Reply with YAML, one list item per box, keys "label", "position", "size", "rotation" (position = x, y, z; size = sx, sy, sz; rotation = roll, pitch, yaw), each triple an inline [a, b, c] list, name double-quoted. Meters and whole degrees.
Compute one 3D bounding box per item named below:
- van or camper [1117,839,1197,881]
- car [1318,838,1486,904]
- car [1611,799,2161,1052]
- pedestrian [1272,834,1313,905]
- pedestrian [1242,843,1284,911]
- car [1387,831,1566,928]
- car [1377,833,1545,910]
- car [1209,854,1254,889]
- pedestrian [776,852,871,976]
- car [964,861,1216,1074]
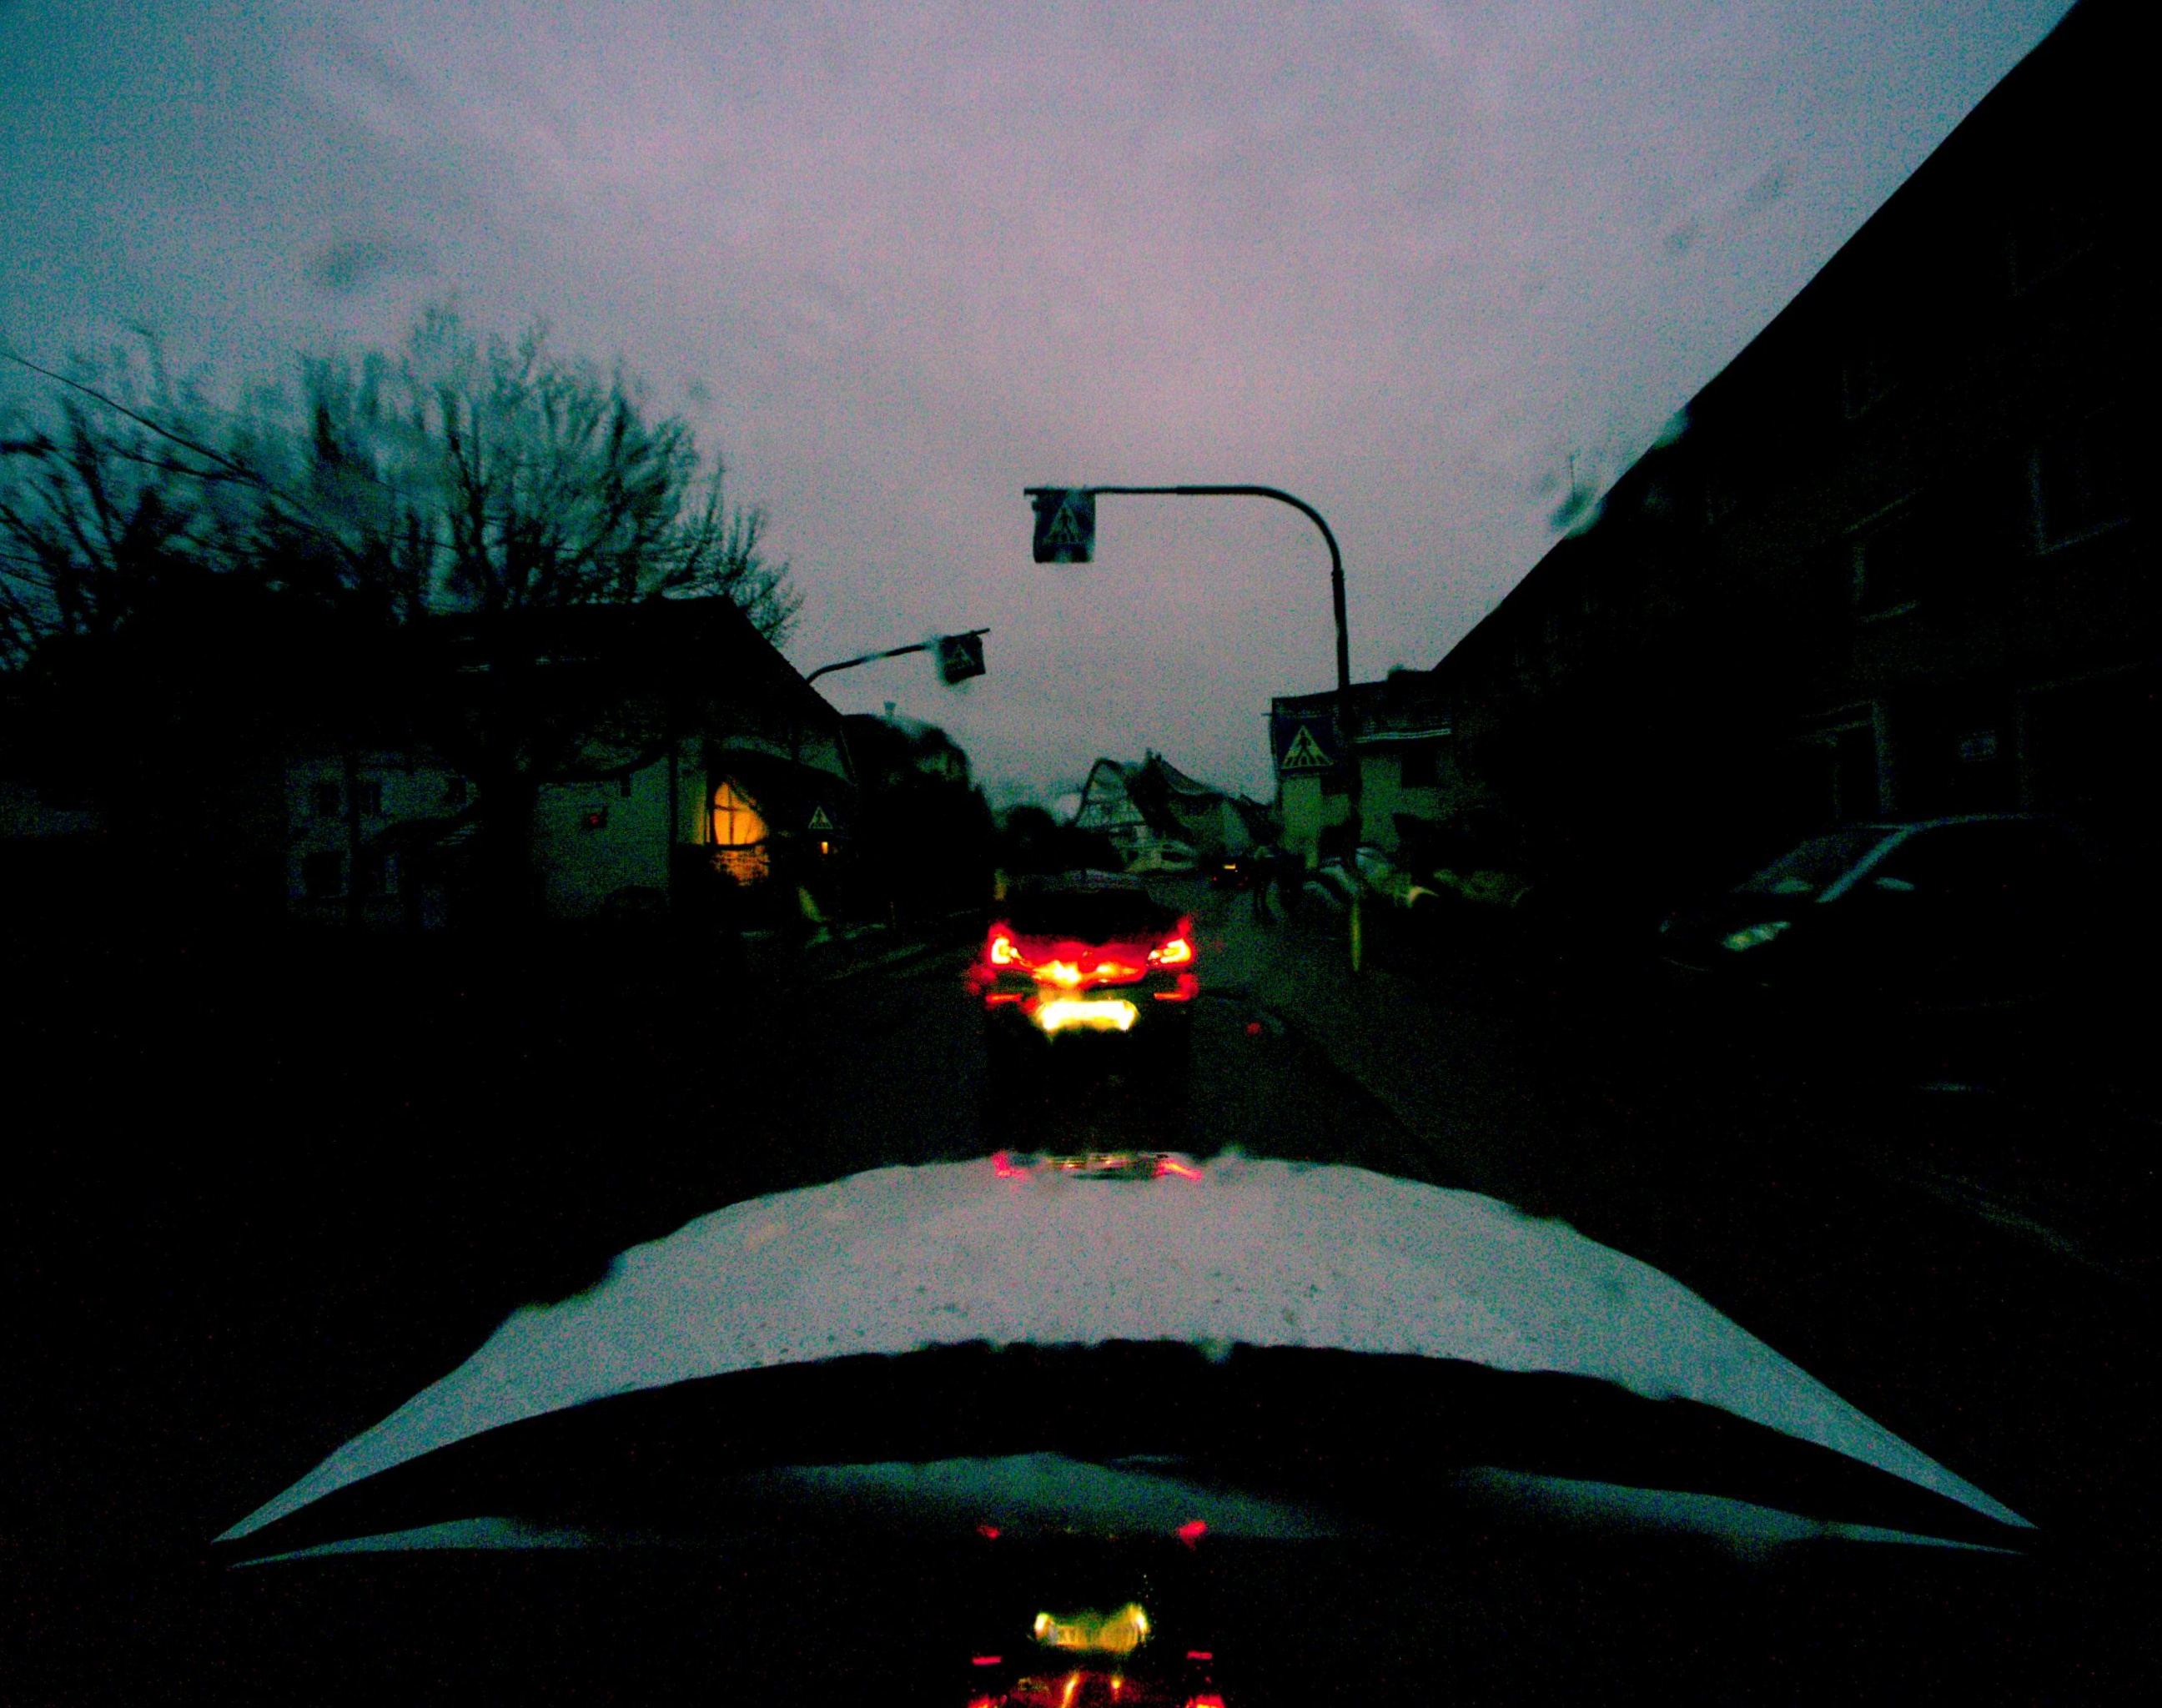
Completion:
- label: "van or camper"
  position: [6.369, 0.490, 68.698]
  size: [6.006, 2.955, 2.420]
  rotation: [-6, -2, 23]
- label: "car"
  position: [8.488, 0.460, 21.864]
  size: [3.875, 1.474, 1.756]
  rotation: [-4, -1, 11]
- label: "car"
  position: [5.692, 0.474, 5.853]
  size: [2.747, 1.474, 1.430]
  rotation: [-4, -1, 8]
- label: "pedestrian"
  position: [5.469, 0.388, 20.984]
  size: [0.842, 1.733, 0.976]
  rotation: [-6, -1, 16]
- label: "pedestrian"
  position: [4.770, 0.599, 21.300]
  size: [0.860, 1.667, 0.996]
  rotation: [-6, -1, 15]
- label: "car"
  position: [7.251, 0.450, 15.135]
  size: [2.568, 1.547, 1.555]
  rotation: [-4, 0, 8]
- label: "car"
  position: [8.396, 0.390, 18.235]
  size: [3.045, 1.474, 1.554]
  rotation: [-4, -1, 11]
- label: "car"
  position: [7.649, 0.858, 41.160]
  size: [1.834, 1.637, 4.353]
  rotation: [-1, -1, 15]
- label: "pedestrian"
  position: [-3.775, 0.857, 12.006]
  size: [0.873, 1.735, 0.960]
  rotation: [-3, -1, 16]
- label: "car"
  position: [0.012, 0.827, 7.860]
  size: [1.791, 1.476, 3.997]
  rotation: [-1, 0, -2]
